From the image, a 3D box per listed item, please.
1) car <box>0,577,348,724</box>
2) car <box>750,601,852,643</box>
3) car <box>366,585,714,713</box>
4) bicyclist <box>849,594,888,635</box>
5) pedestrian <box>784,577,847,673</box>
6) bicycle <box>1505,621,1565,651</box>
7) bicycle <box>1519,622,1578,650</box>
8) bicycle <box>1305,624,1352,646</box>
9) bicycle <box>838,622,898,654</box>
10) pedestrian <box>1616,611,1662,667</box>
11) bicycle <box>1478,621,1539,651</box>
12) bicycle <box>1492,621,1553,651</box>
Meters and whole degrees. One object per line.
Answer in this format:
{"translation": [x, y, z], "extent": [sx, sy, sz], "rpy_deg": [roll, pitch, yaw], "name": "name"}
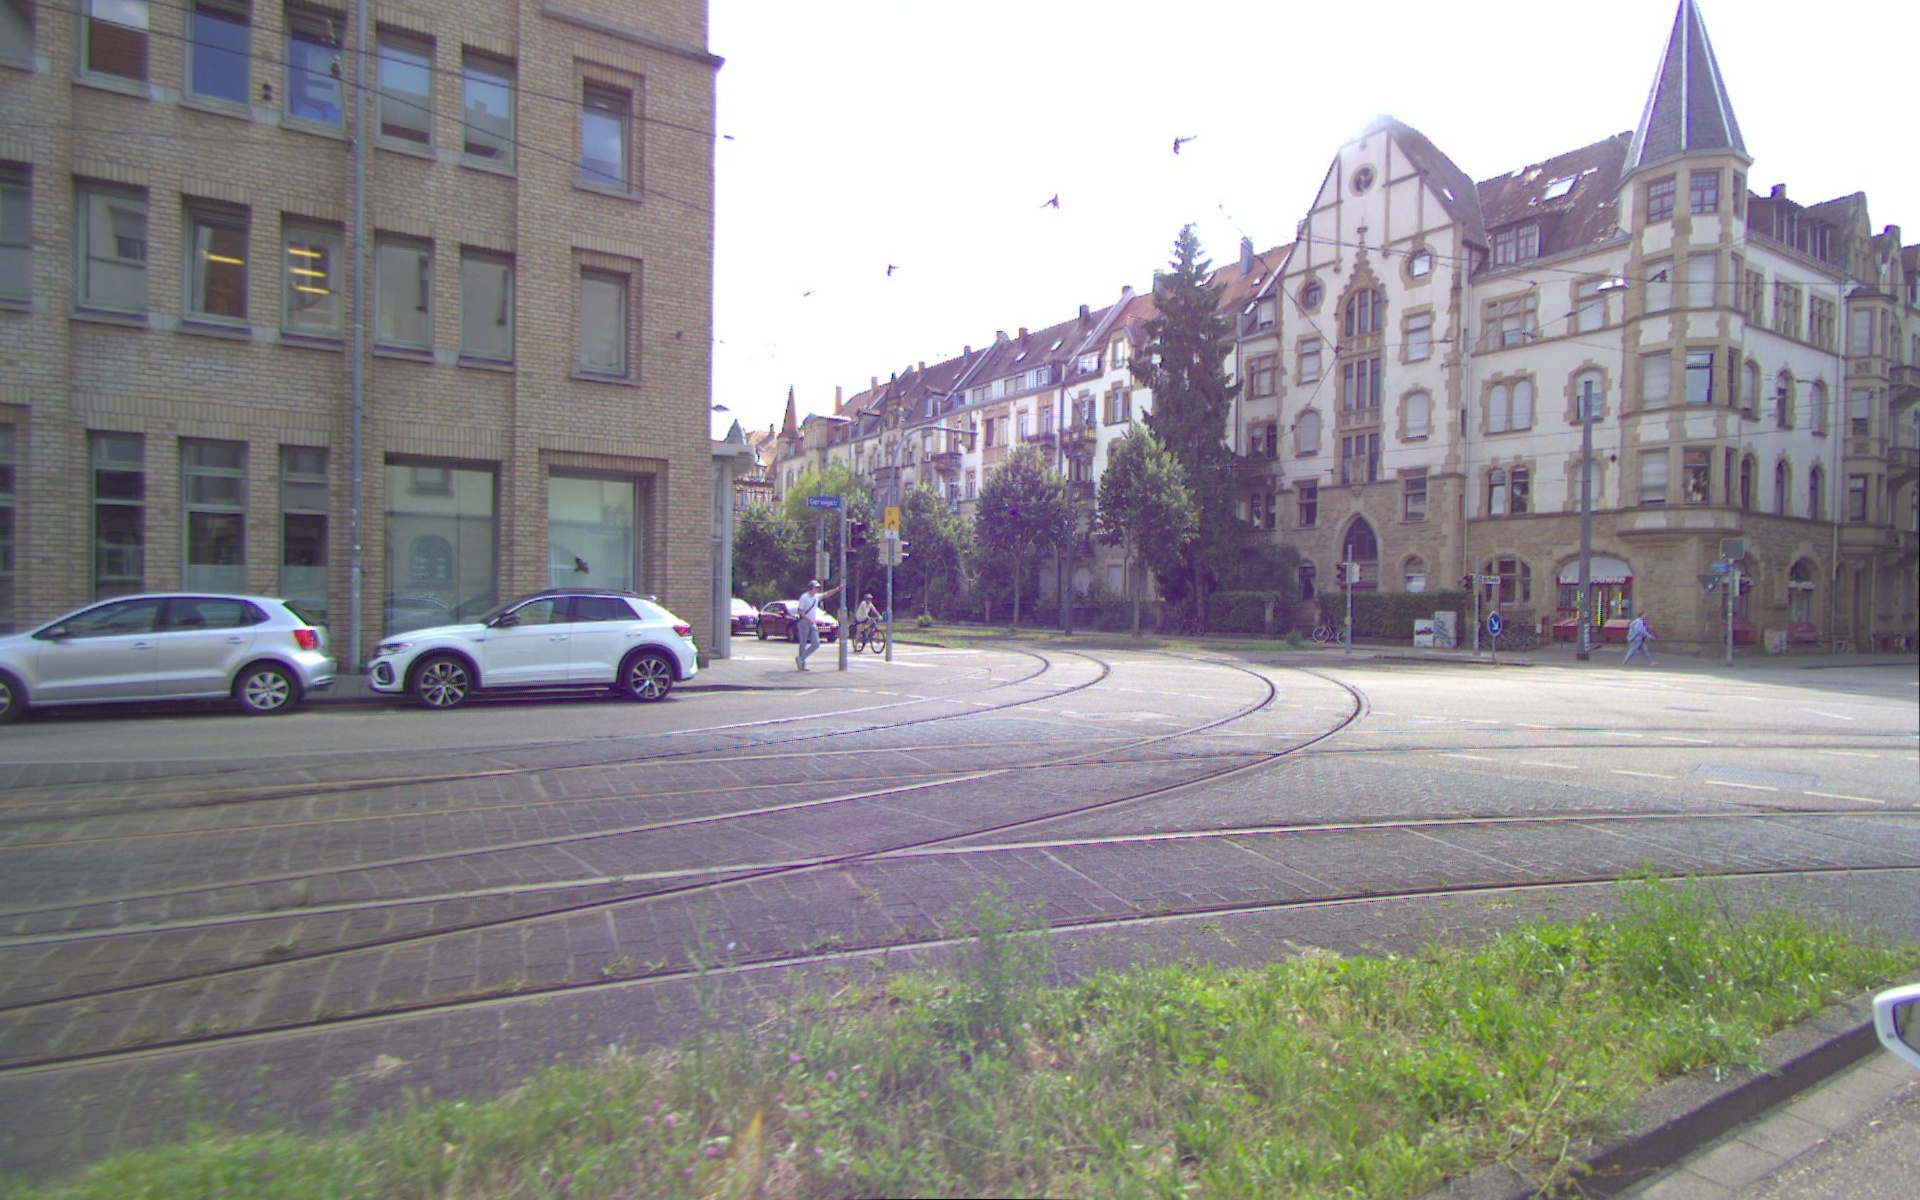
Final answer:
{"translation": [-9.666, 0.545, 11.930], "extent": [3.965, 1.551, 1.924], "rpy_deg": [1, 0, -29], "name": "car"}
{"translation": [-5.722, 0.760, 35.952], "extent": [1.875, 1.394, 3.954], "rpy_deg": [1, 0, -39], "name": "car"}
{"translation": [-5.780, 0.621, 14.009], "extent": [4.206, 1.555, 1.924], "rpy_deg": [1, 0, -29], "name": "car"}
{"translation": [-2.691, 0.415, 29.451], "extent": [0.769, 1.162, 0.888], "rpy_deg": [1, 0, -38], "name": "bicyclist"}
{"translation": [-2.813, 0.473, 19.567], "extent": [0.750, 1.819, 0.957], "rpy_deg": [1, 0, 35], "name": "pedestrian"}
{"translation": [22.599, 1.407, 39.484], "extent": [0.772, 1.095, 1.900], "rpy_deg": [1, -1, -40], "name": "bicycle"}
{"translation": [23.576, 1.432, 40.254], "extent": [0.772, 1.095, 1.900], "rpy_deg": [1, -1, -40], "name": "bicycle"}
{"translation": [15.747, 1.489, 42.966], "extent": [0.467, 0.859, 1.900], "rpy_deg": [1, -1, -39], "name": "bicycle"}
{"translation": [-2.706, 1.095, 29.443], "extent": [0.712, 0.837, 2.124], "rpy_deg": [1, 0, -38], "name": "bicycle"}
{"translation": [21.824, 1.229, 32.313], "extent": [1.003, 1.745, 0.776], "rpy_deg": [1, 0, 16], "name": "pedestrian"}
{"translation": [20.726, 1.359, 37.970], "extent": [0.772, 1.095, 1.900], "rpy_deg": [1, -1, -40], "name": "bicycle"}
{"translation": [21.704, 1.385, 38.781], "extent": [0.772, 1.095, 1.900], "rpy_deg": [1, -1, -40], "name": "bicycle"}
